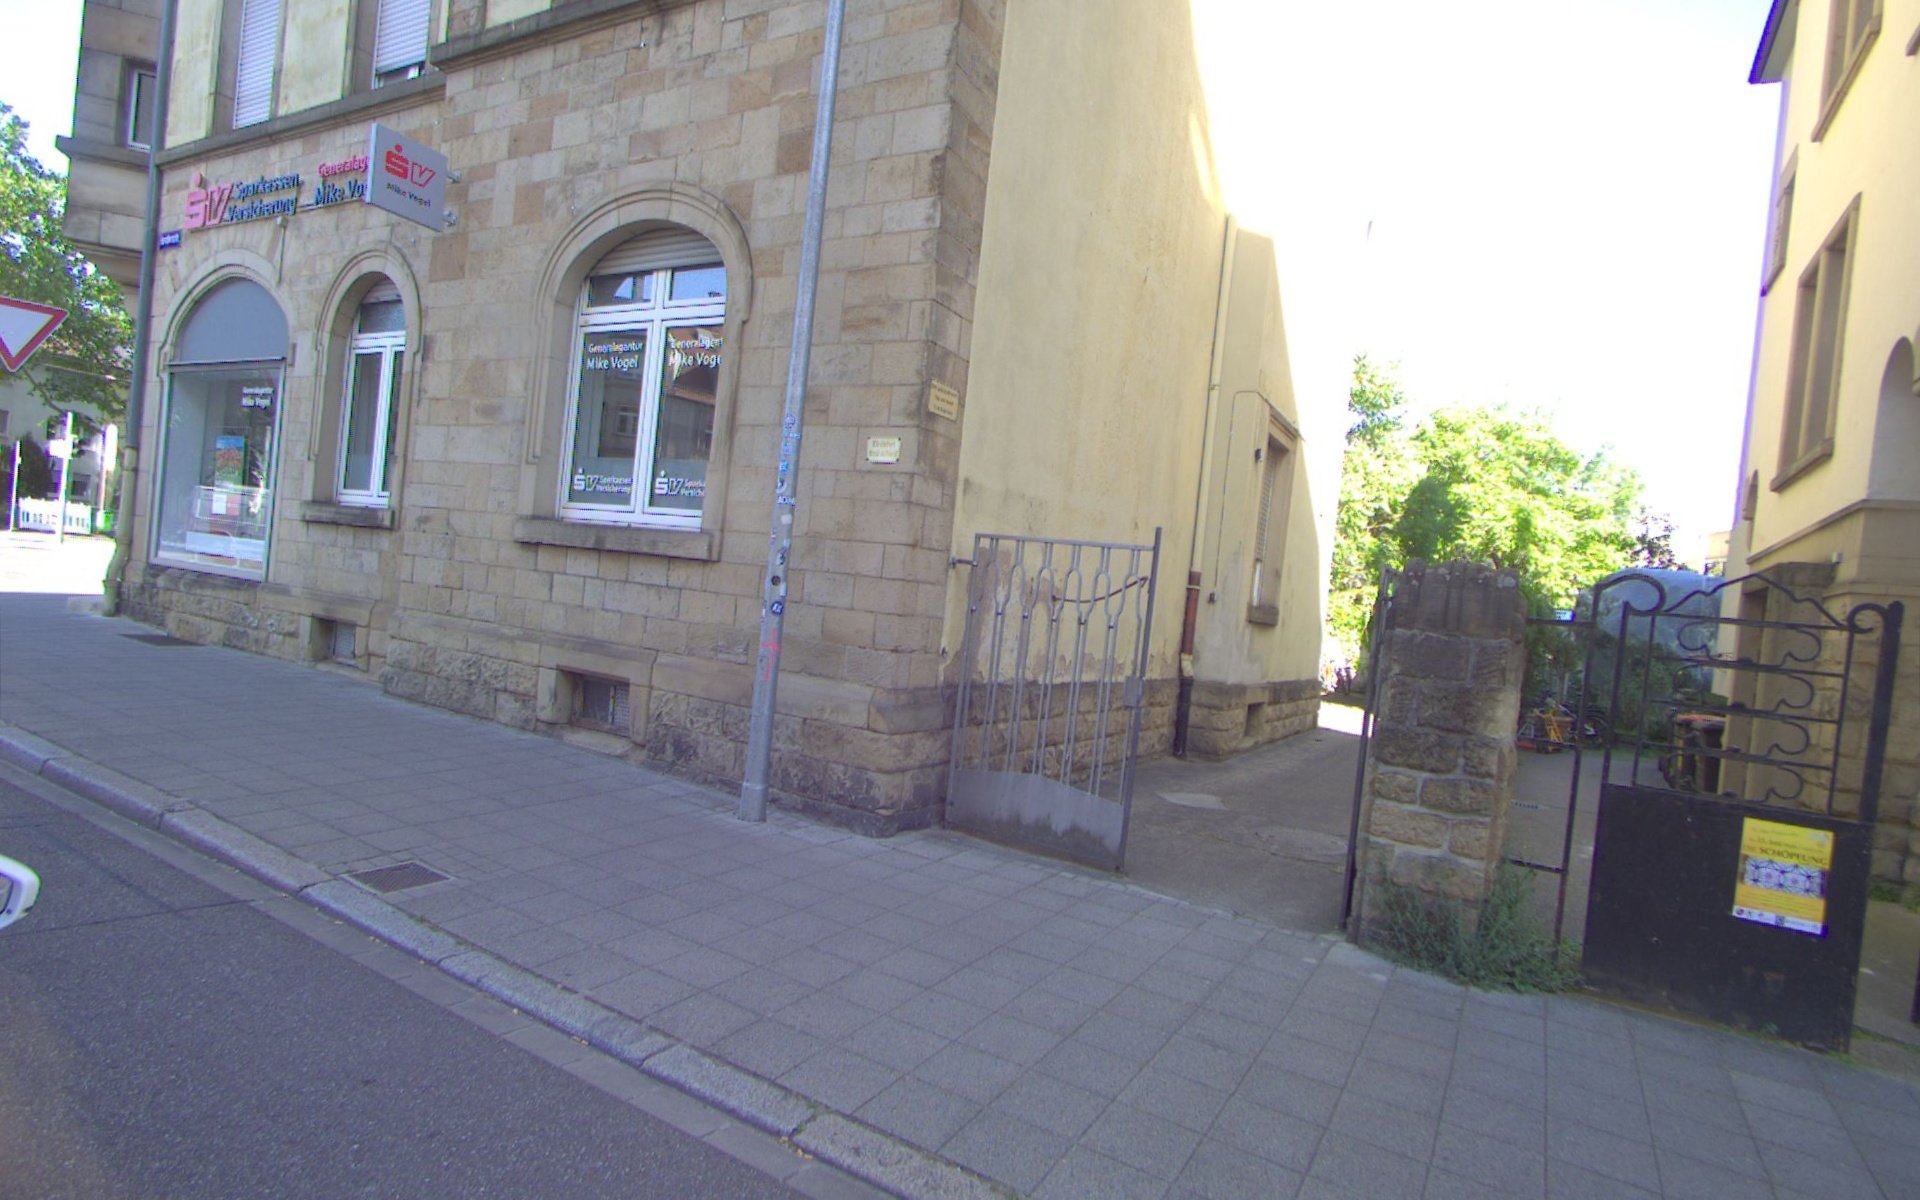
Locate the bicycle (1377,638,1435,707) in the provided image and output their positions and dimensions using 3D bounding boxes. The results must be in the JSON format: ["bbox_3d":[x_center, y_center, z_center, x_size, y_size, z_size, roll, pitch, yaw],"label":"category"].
[{"bbox_3d":[11.218,1.779,25.249,0.904,1.532,2.667,6,2,31],"label":"bicycle"}]

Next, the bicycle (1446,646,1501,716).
[{"bbox_3d":[12.603,1.938,24.635,0.904,1.532,2.667,6,2,31],"label":"bicycle"}]

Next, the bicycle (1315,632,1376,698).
[{"bbox_3d":[9.984,1.644,25.966,0.904,1.532,2.667,6,2,31],"label":"bicycle"}]
